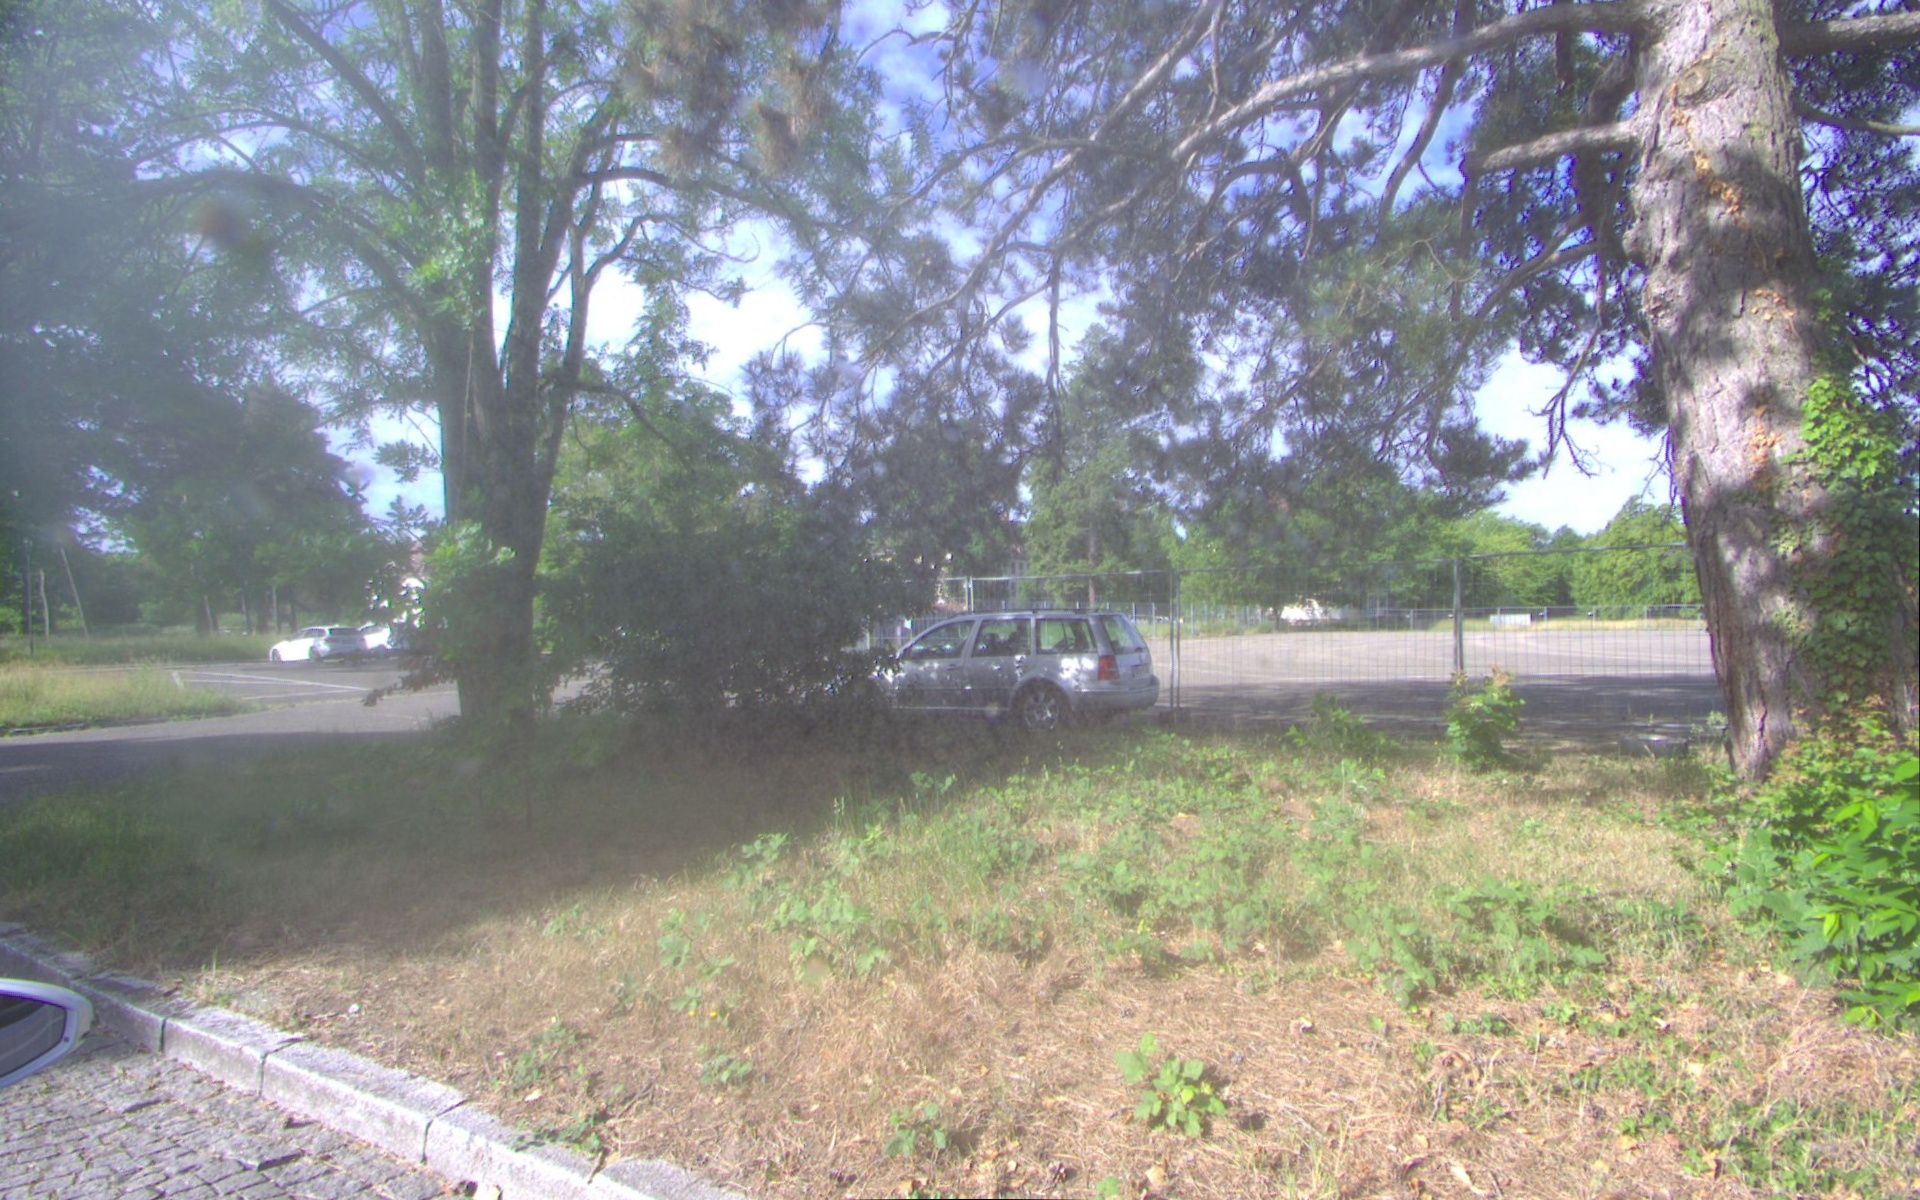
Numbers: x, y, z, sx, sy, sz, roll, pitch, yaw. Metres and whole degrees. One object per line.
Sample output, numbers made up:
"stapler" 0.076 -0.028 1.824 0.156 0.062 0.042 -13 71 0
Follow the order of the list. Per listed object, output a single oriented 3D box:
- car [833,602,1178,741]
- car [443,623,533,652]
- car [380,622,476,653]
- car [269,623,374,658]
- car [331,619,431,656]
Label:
"car" 0.528 0.806 12.361 3.938 1.487 1.666 -1 -1 28
"car" -22.482 1.768 47.671 4.265 1.329 1.729 -1 0 28
"car" -23.901 1.677 44.956 4.265 1.329 1.729 -1 0 28
"car" -25.806 1.606 40.471 4.265 1.329 1.729 -1 -1 28
"car" -24.762 1.607 42.787 4.265 1.496 1.729 -1 -1 28
